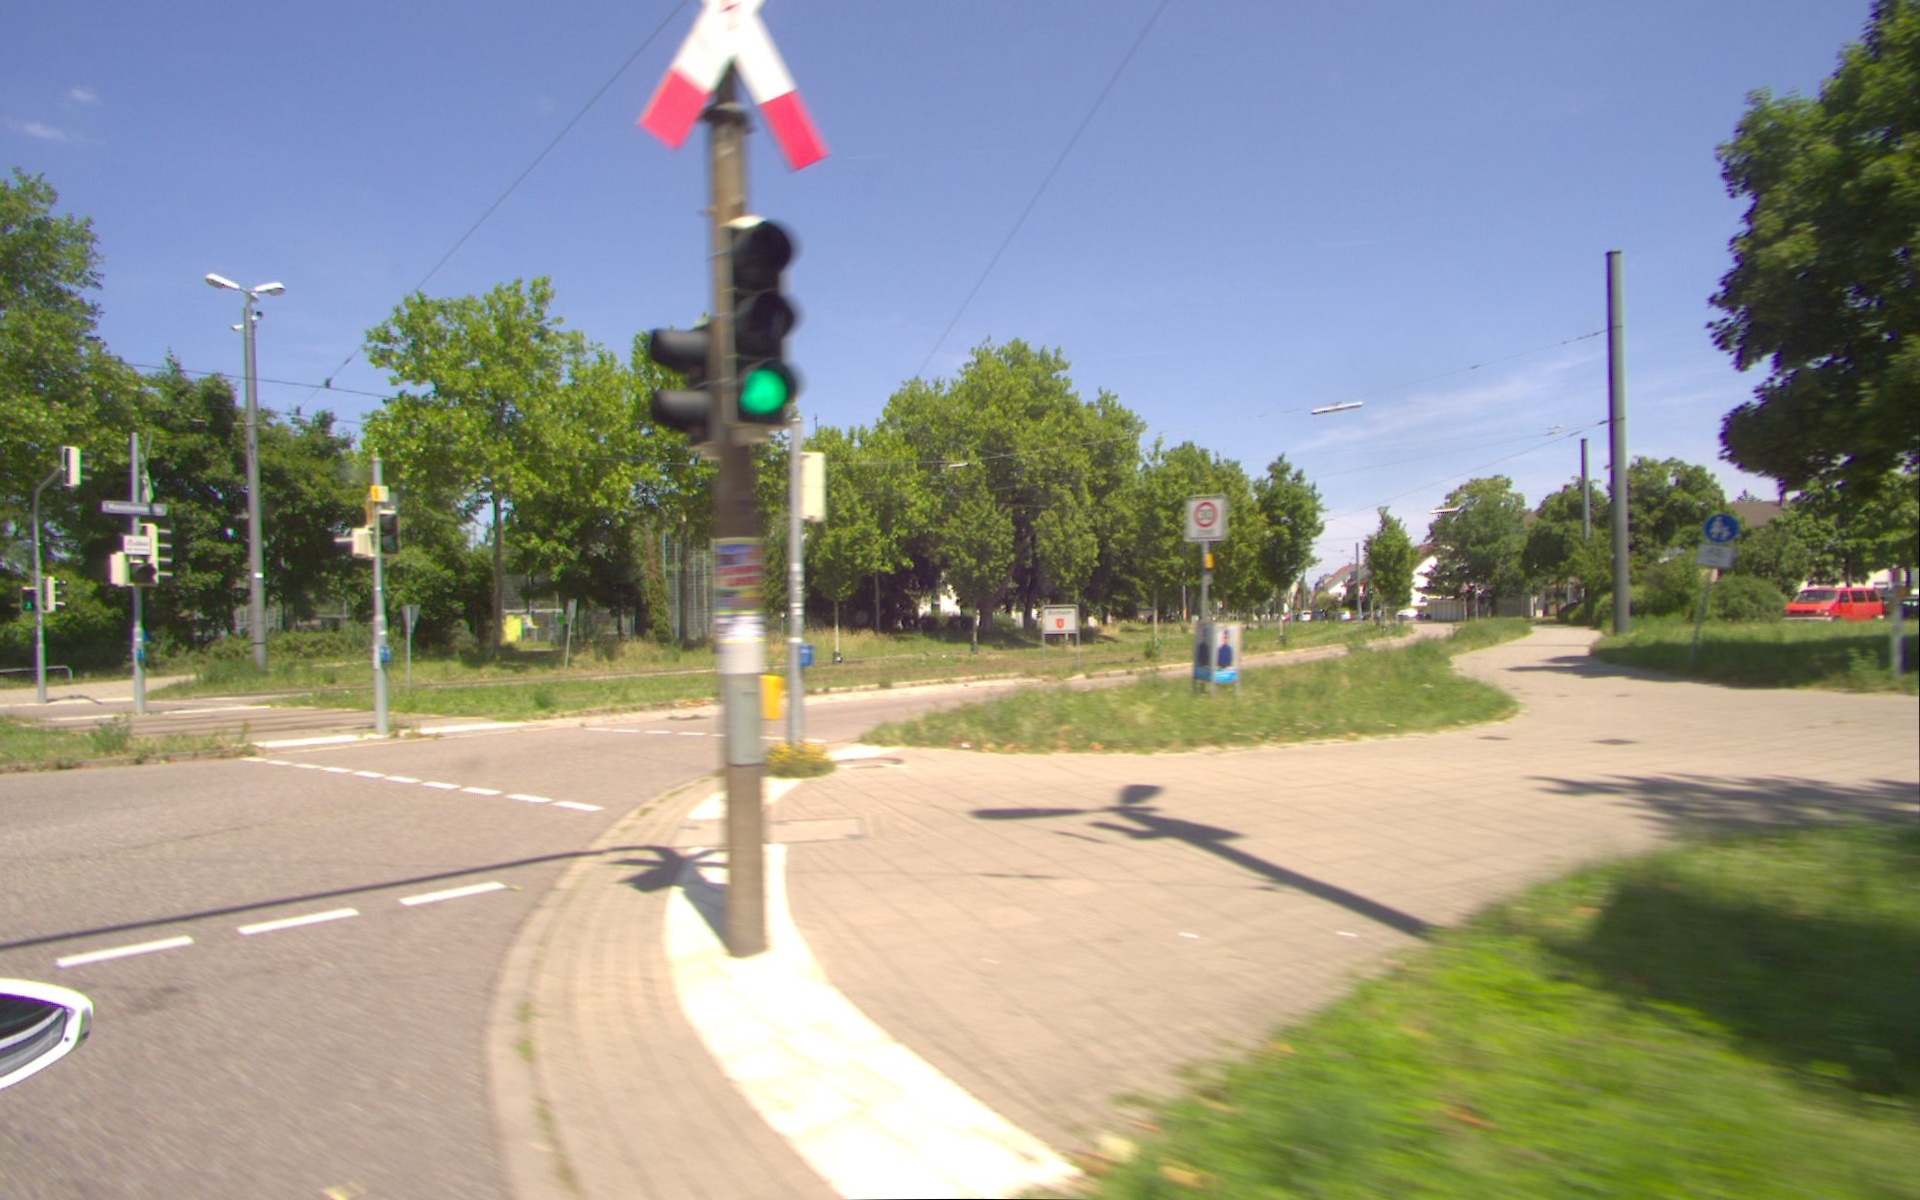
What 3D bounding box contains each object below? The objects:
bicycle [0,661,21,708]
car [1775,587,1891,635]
[{"bbox_3d":[-19.634,1.683,19.687,1.776,0.907,0.589,-1,0,1],"label":"bicycle"},{"bbox_3d":[38.273,0.487,43.883,4.587,2.029,2.068,0,-1,-24],"label":"car"}]
